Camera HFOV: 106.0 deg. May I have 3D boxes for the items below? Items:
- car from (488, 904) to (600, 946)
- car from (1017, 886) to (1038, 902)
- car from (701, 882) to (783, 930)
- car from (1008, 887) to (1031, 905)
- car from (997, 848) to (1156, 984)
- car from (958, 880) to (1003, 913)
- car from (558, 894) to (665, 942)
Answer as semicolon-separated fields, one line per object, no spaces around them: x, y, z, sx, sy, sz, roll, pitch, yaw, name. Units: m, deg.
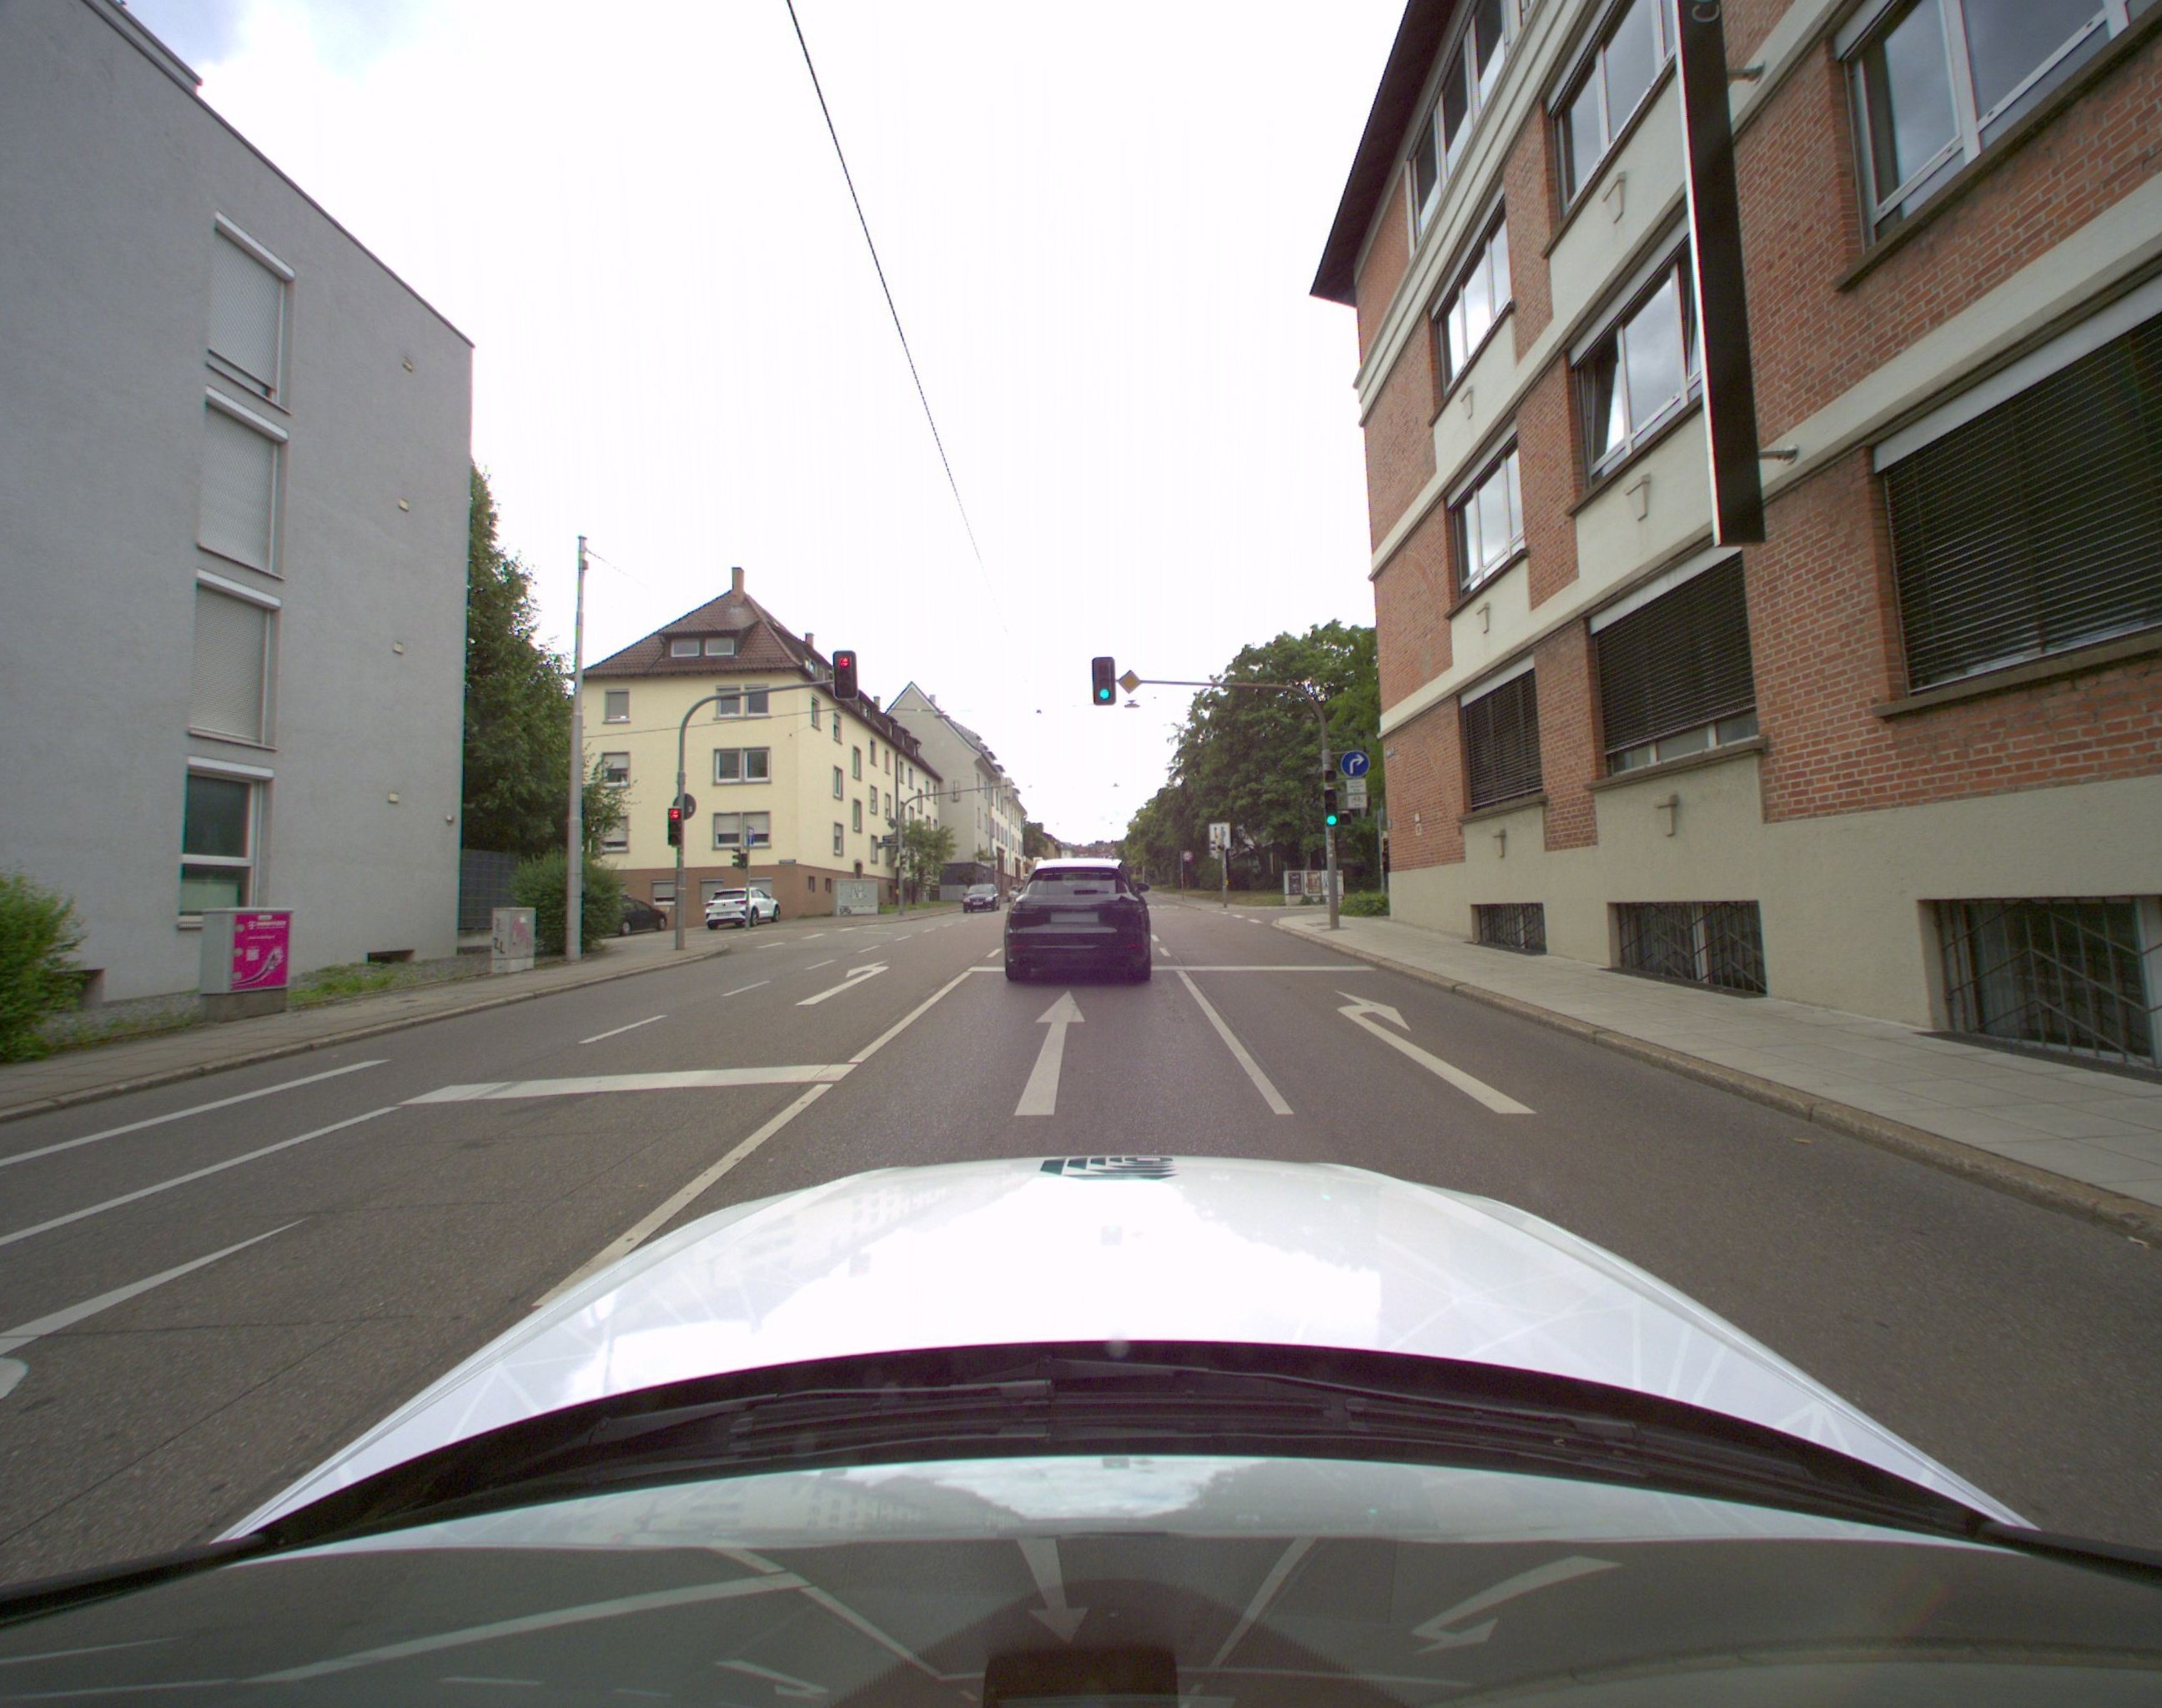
-21.211;2.777;32.372;1.663;1.362;4.001;-1;-1;2;car
-4.929;3.725;75.945;1.664;1.362;3.999;-1;-1;0;car
-13.586;2.039;32.870;1.666;1.662;3.996;-4;-1;-3;car
-5.174;3.544;68.456;1.665;1.362;3.998;-1;-1;-1;car
0.008;0.818;12.229;1.986;1.697;4.001;0;-1;2;car
-5.268;2.203;43.185;1.657;1.519;3.741;-5;-1;2;car
-18.595;2.490;32.487;1.664;1.546;4.102;-4;-1;2;car
